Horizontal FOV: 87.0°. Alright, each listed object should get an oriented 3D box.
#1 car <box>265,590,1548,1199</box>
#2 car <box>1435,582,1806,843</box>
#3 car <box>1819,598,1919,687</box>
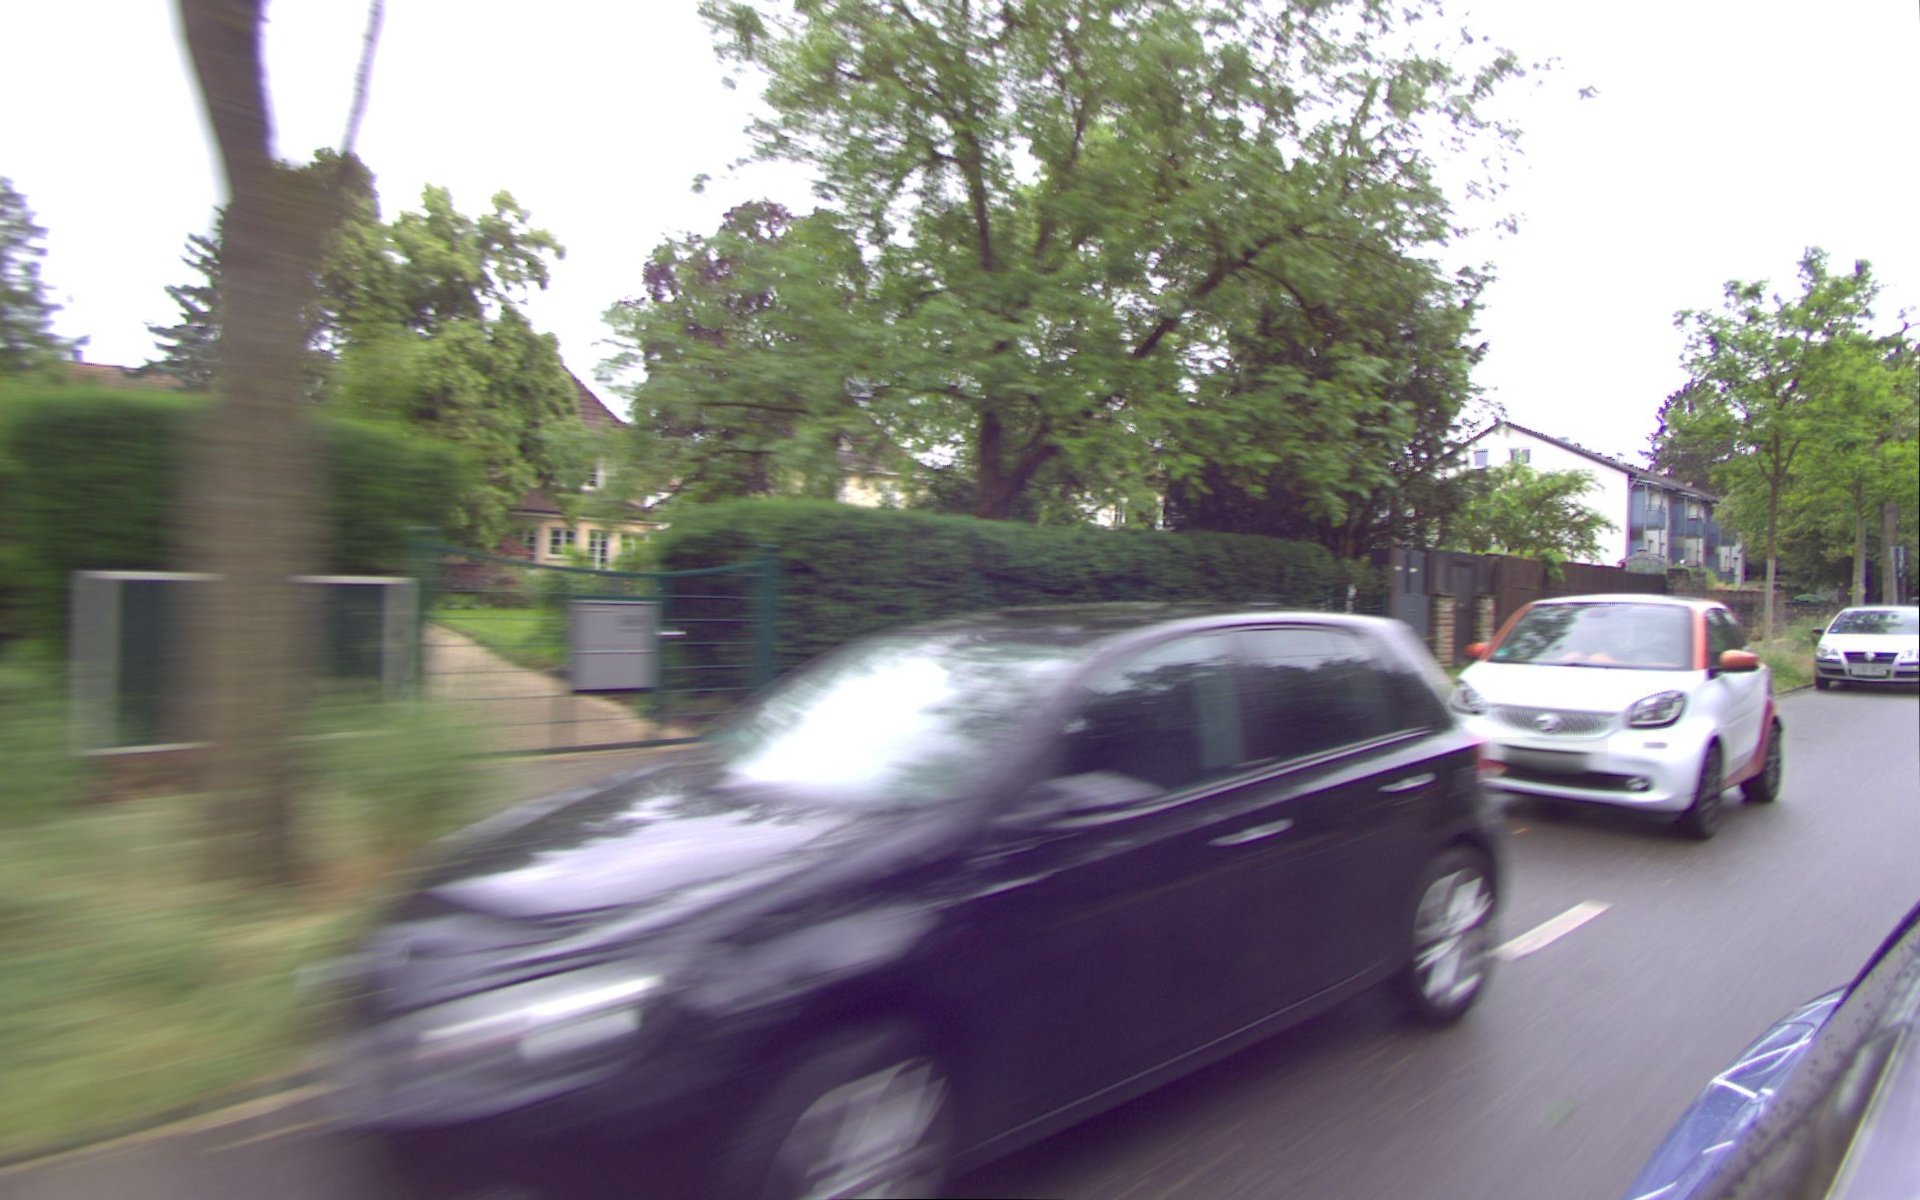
[{"bbox_3d":[0.141,0.711,3.328,3.926,1.428,1.733,0,-1,-38],"label":"car"},{"bbox_3d":[4.926,0.658,7.471,2.752,1.536,1.600,0,0,-41],"label":"car"},{"bbox_3d":[16.641,0.687,17.894,3.635,1.447,1.673,0,0,-41],"label":"car"}]
